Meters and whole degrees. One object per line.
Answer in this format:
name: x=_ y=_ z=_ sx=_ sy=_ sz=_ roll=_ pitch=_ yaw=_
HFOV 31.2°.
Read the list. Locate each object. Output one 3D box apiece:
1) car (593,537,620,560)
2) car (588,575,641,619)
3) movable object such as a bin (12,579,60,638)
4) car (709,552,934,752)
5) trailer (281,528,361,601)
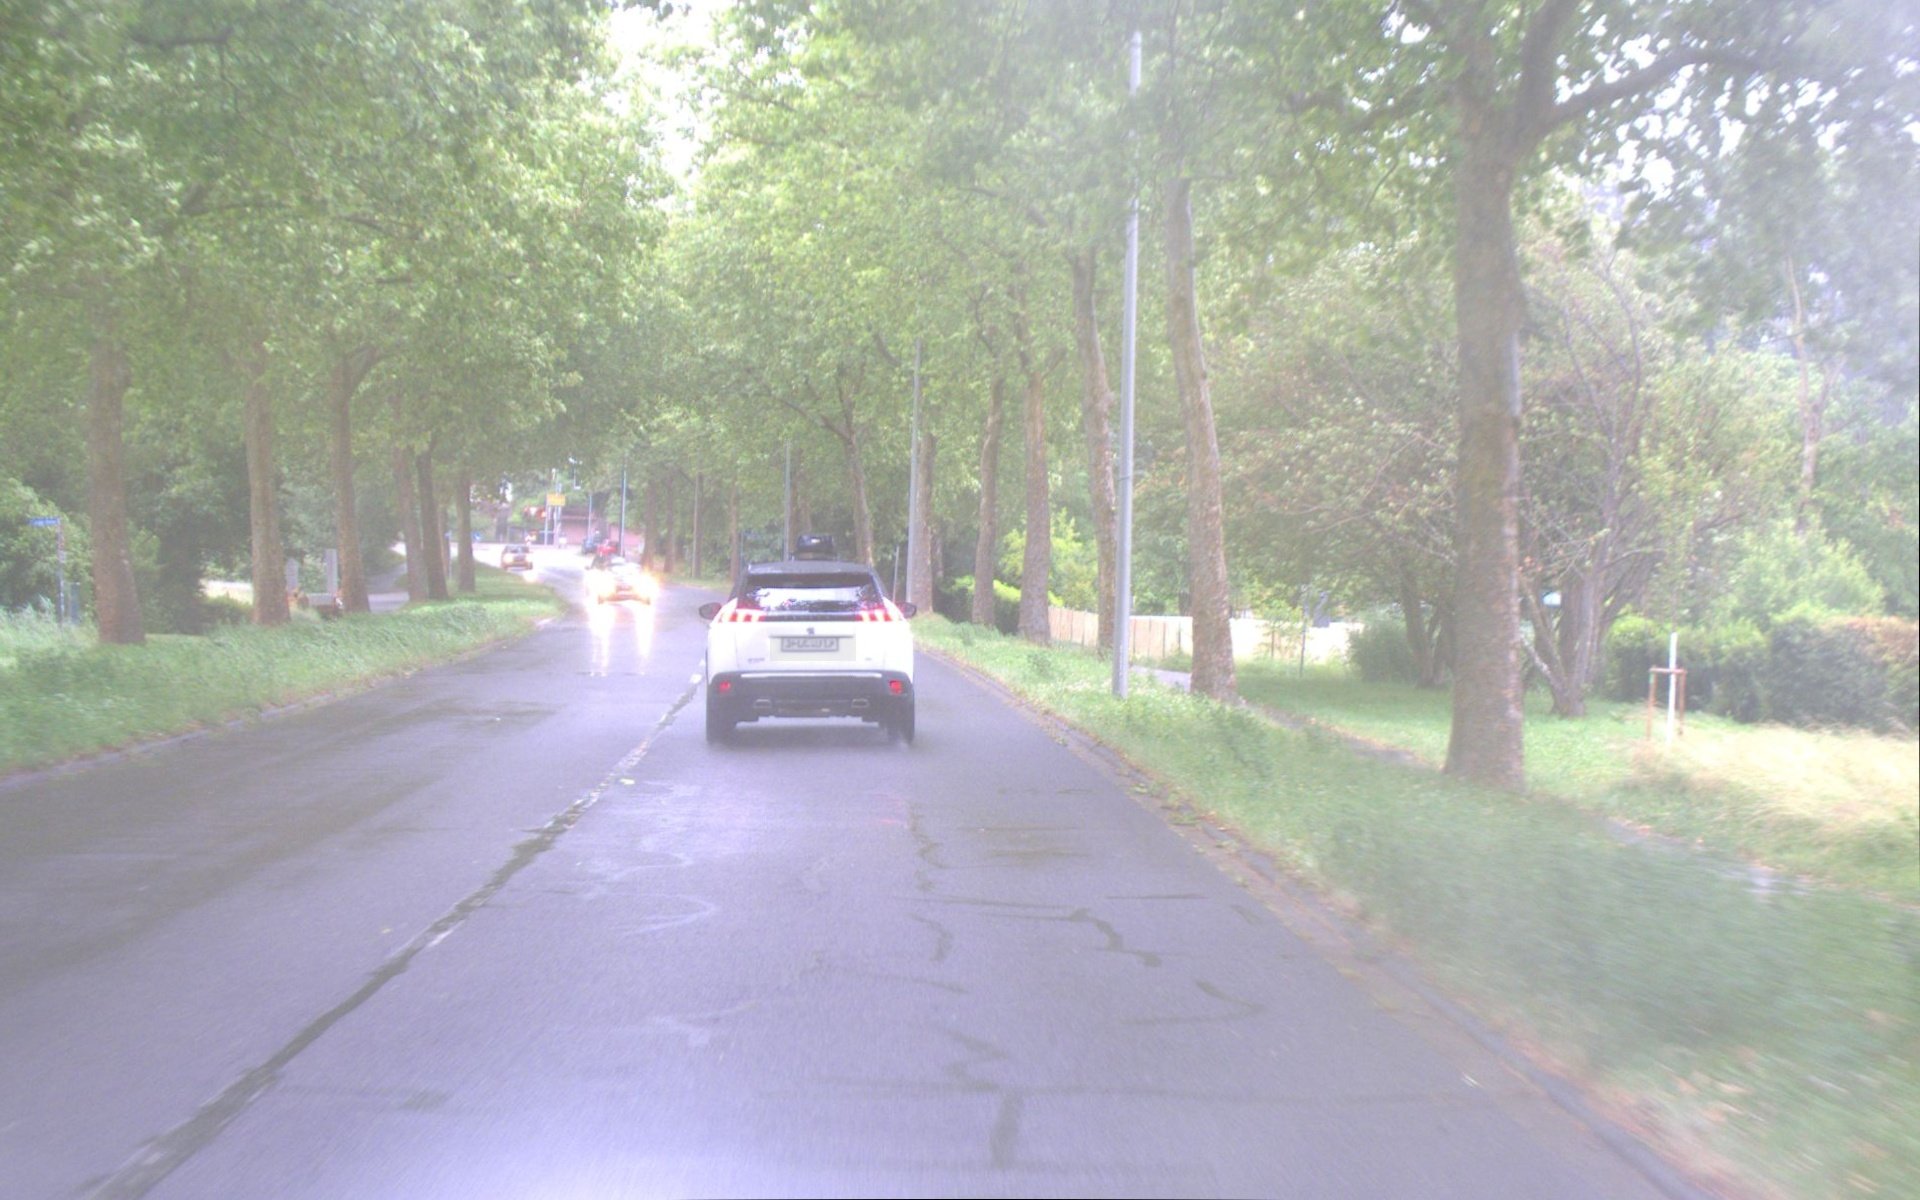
car: x=-26.223 y=-3.814 z=255.035 sx=1.827 sy=1.590 sz=3.654 roll=2 pitch=0 yaw=-5
car: x=-11.680 y=-0.121 z=116.224 sx=1.731 sy=1.419 sz=4.226 roll=0 pitch=1 yaw=-6
movable object such as a bin: x=-22.865 y=0.198 z=85.083 sx=0.962 sy=1.417 sz=0.966 roll=2 pitch=0 yaw=-7
car: x=-1.278 y=0.401 z=30.158 sx=1.793 sy=1.573 sz=3.845 roll=2 pitch=1 yaw=-4
trailer: x=-23.677 y=-1.330 z=127.493 sx=2.484 sy=2.558 sz=5.333 roll=2 pitch=0 yaw=-7
